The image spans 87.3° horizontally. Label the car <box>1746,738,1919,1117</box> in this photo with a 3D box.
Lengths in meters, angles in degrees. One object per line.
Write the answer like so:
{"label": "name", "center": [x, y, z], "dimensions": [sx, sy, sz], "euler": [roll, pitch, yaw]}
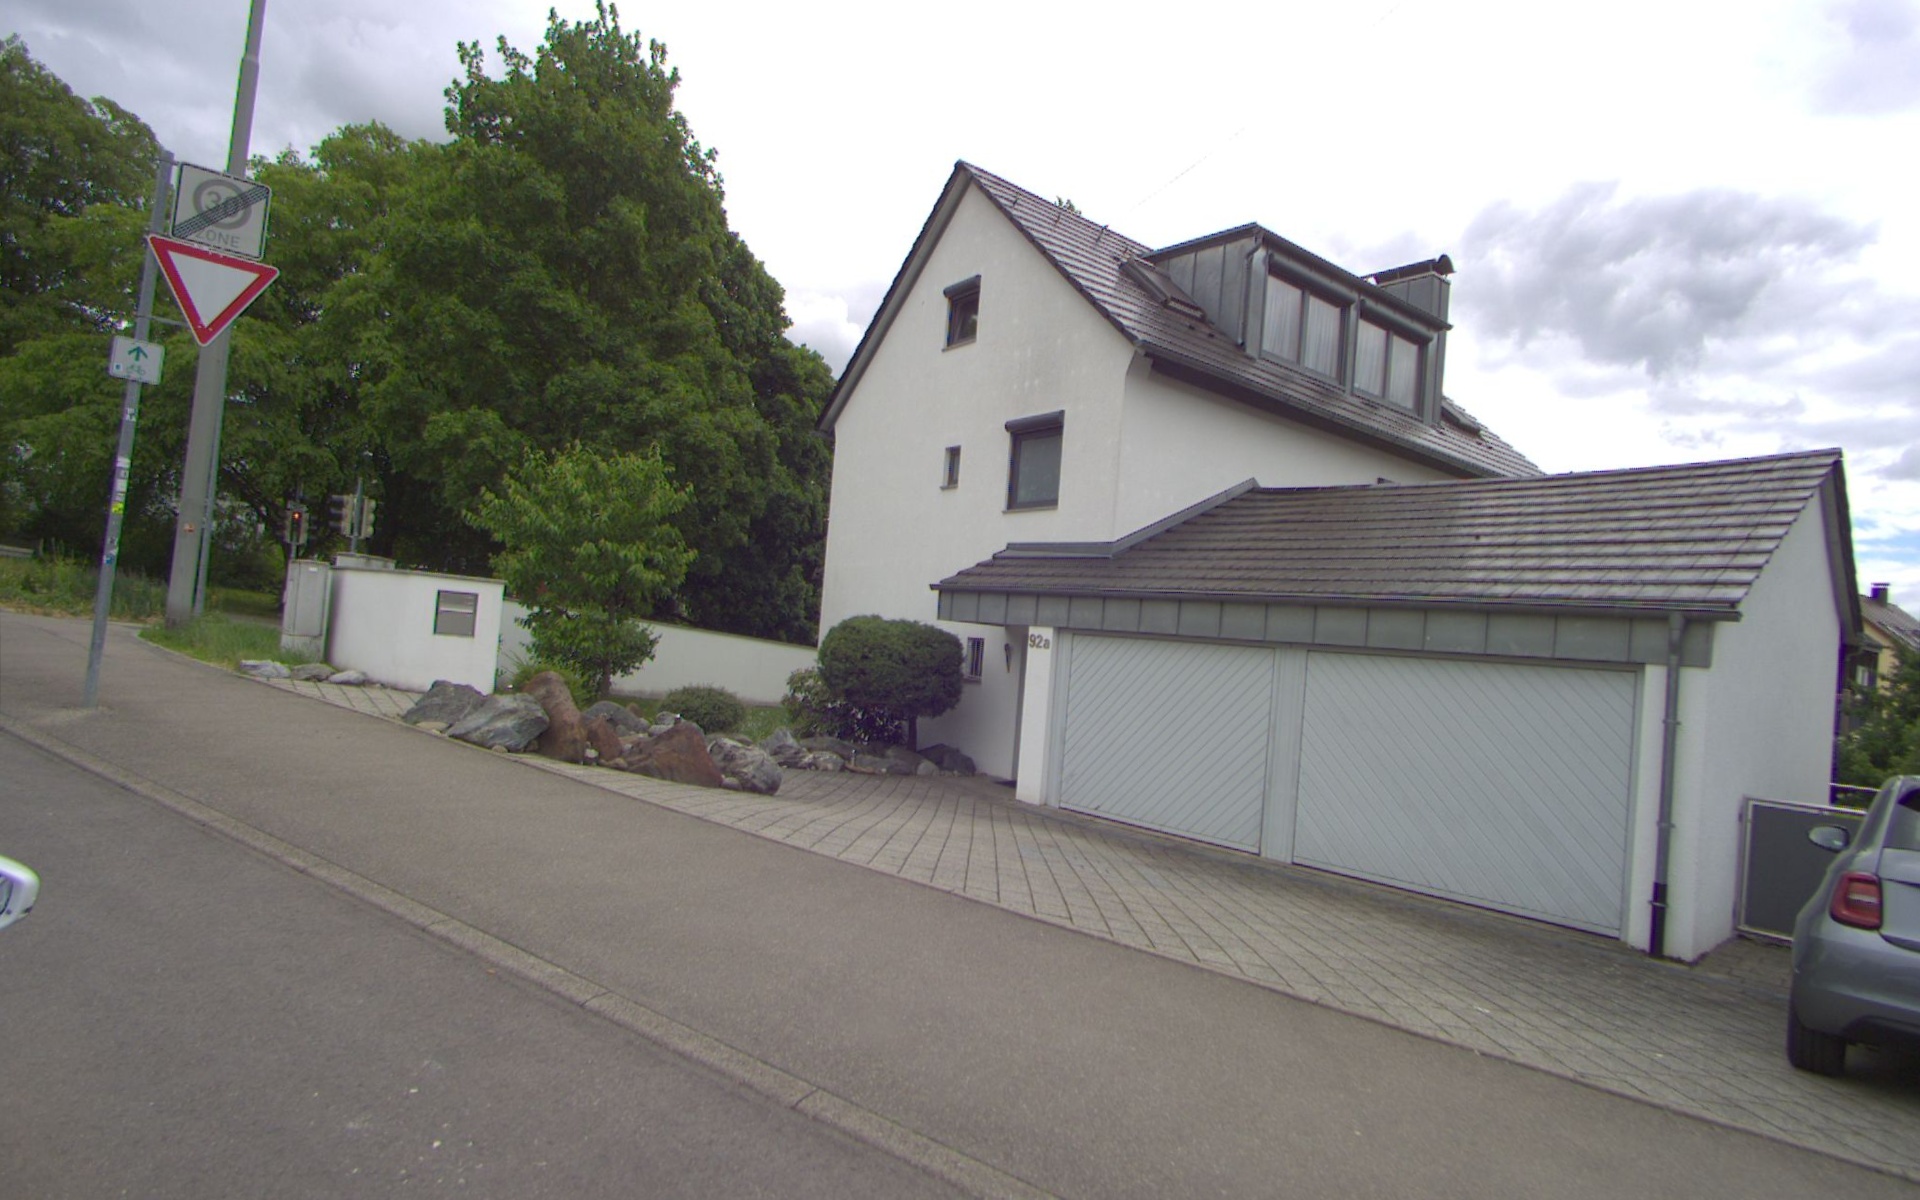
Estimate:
{"label": "car", "center": [5.676, 1.766, 5.314], "dimensions": [3.983, 1.486, 1.768], "euler": [14, -7, -43]}
